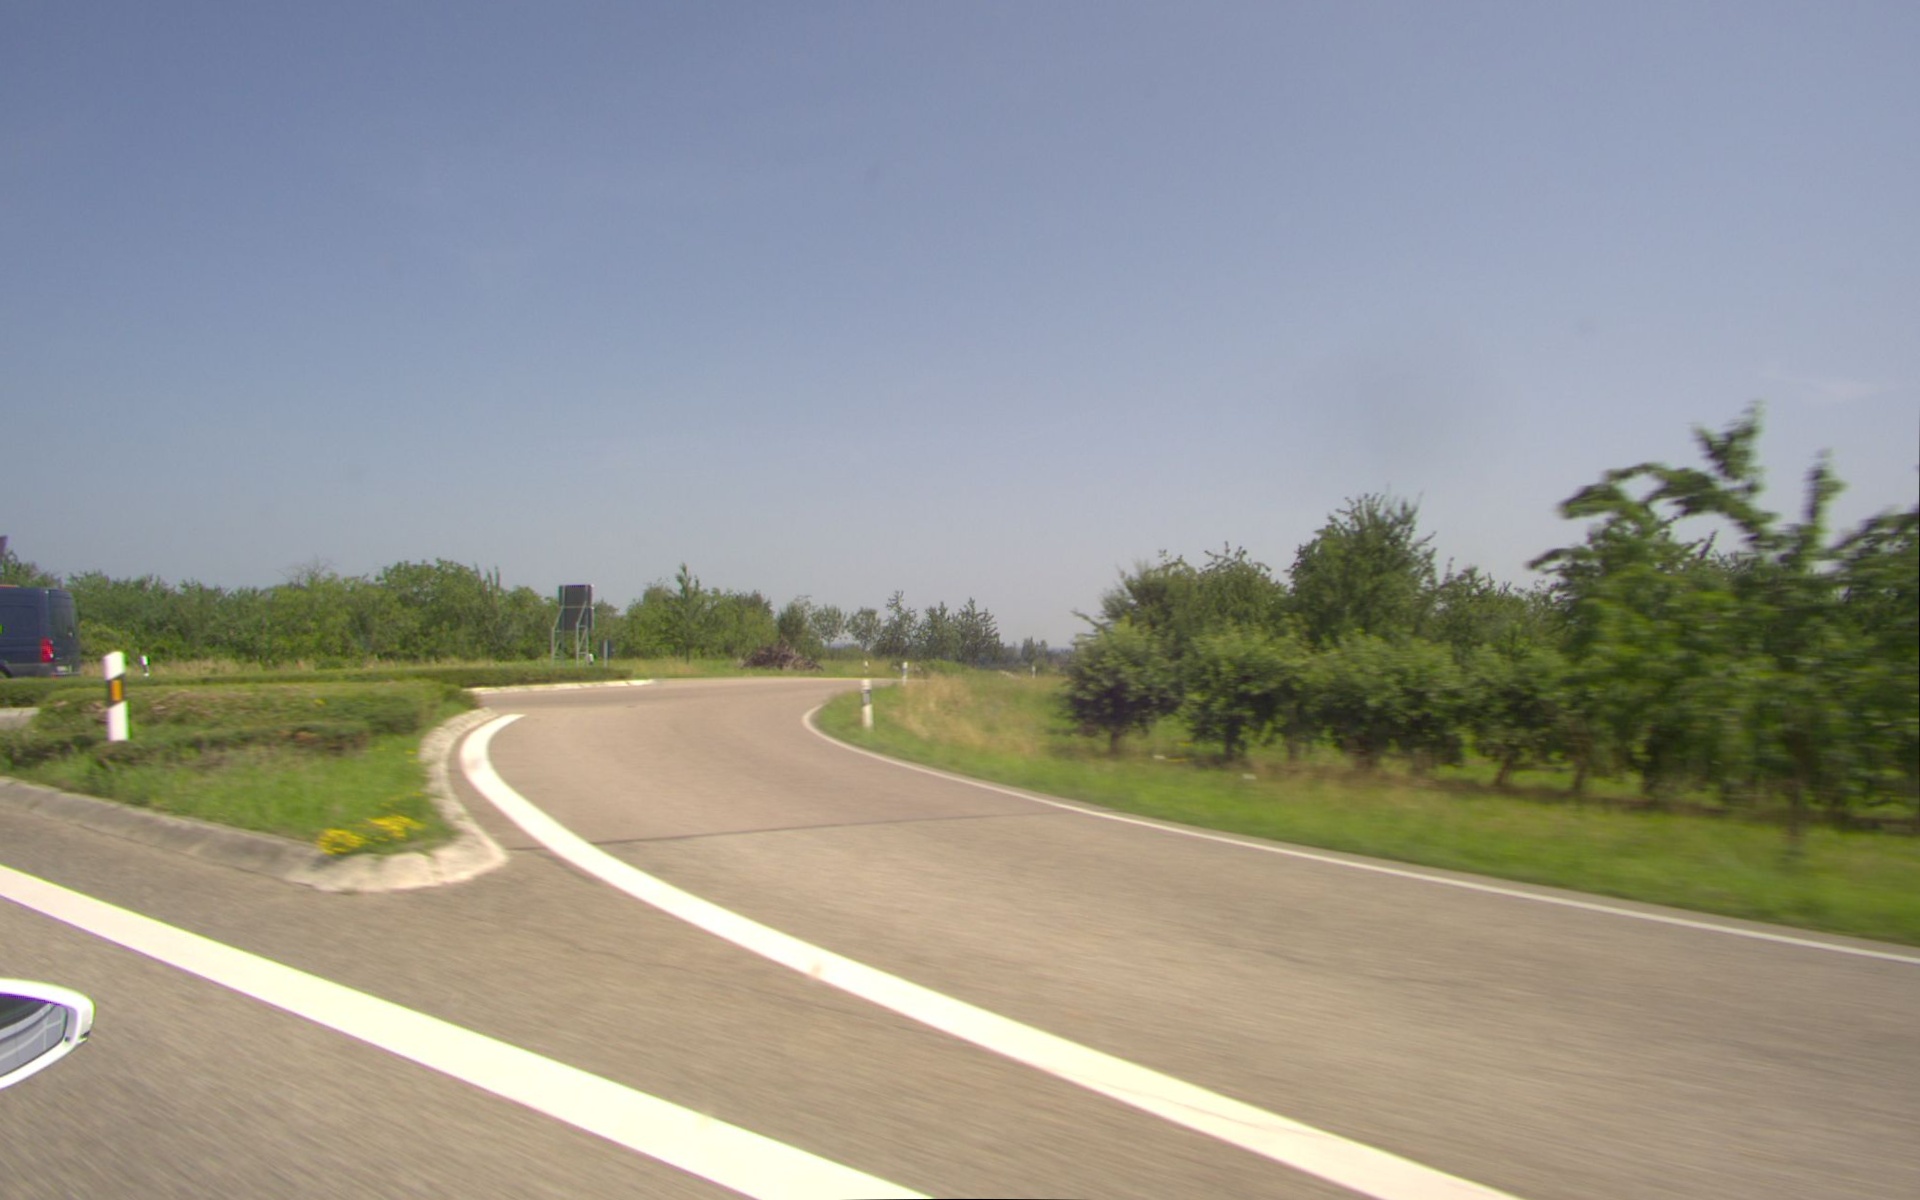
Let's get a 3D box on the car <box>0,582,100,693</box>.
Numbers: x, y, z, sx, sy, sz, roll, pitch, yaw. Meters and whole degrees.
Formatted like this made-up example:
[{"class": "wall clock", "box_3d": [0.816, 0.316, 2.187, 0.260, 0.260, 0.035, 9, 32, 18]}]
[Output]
[{"class": "car", "box_3d": [-24.766, 0.892, 23.790, 6.214, 2.608, 2.055, 1, -1, -25]}]
